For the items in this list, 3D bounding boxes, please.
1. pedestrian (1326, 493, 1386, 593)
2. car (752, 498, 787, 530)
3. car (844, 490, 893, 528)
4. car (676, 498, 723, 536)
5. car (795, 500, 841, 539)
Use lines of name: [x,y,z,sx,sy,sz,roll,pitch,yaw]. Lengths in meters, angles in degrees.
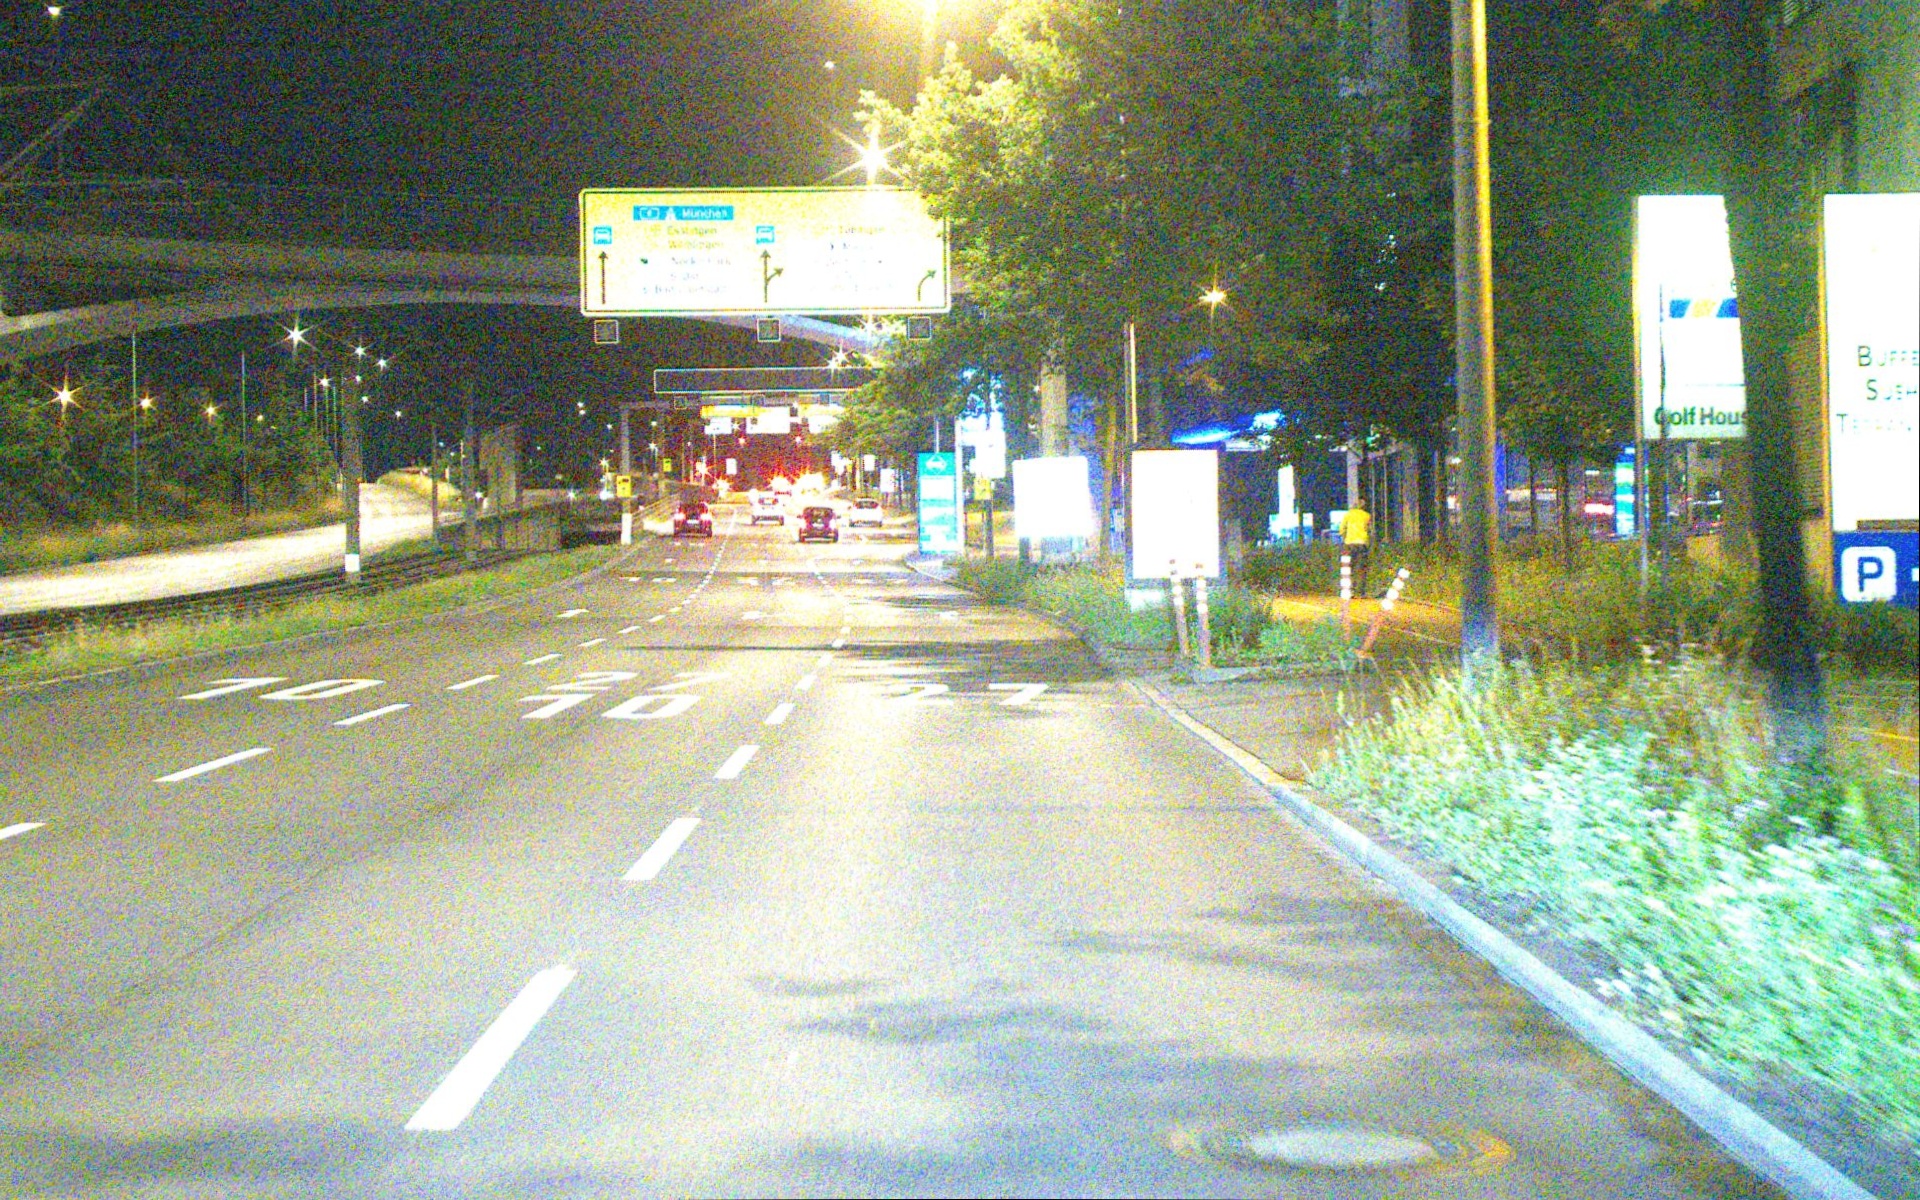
pedestrian: [6.852,-0.988,59.521,0.852,1.701,0.957,2,1,-2]
car: [-10.623,-4.784,192.202,1.782,1.705,4.000,1,1,-1]
car: [-5.114,-5.088,193.049,2.651,2.007,5.300,1,1,-1]
car: [-12.145,-3.879,160.534,1.968,1.705,4.000,1,1,-1]
car: [-6.396,-3.625,155.352,1.968,1.705,4.000,1,1,-1]
